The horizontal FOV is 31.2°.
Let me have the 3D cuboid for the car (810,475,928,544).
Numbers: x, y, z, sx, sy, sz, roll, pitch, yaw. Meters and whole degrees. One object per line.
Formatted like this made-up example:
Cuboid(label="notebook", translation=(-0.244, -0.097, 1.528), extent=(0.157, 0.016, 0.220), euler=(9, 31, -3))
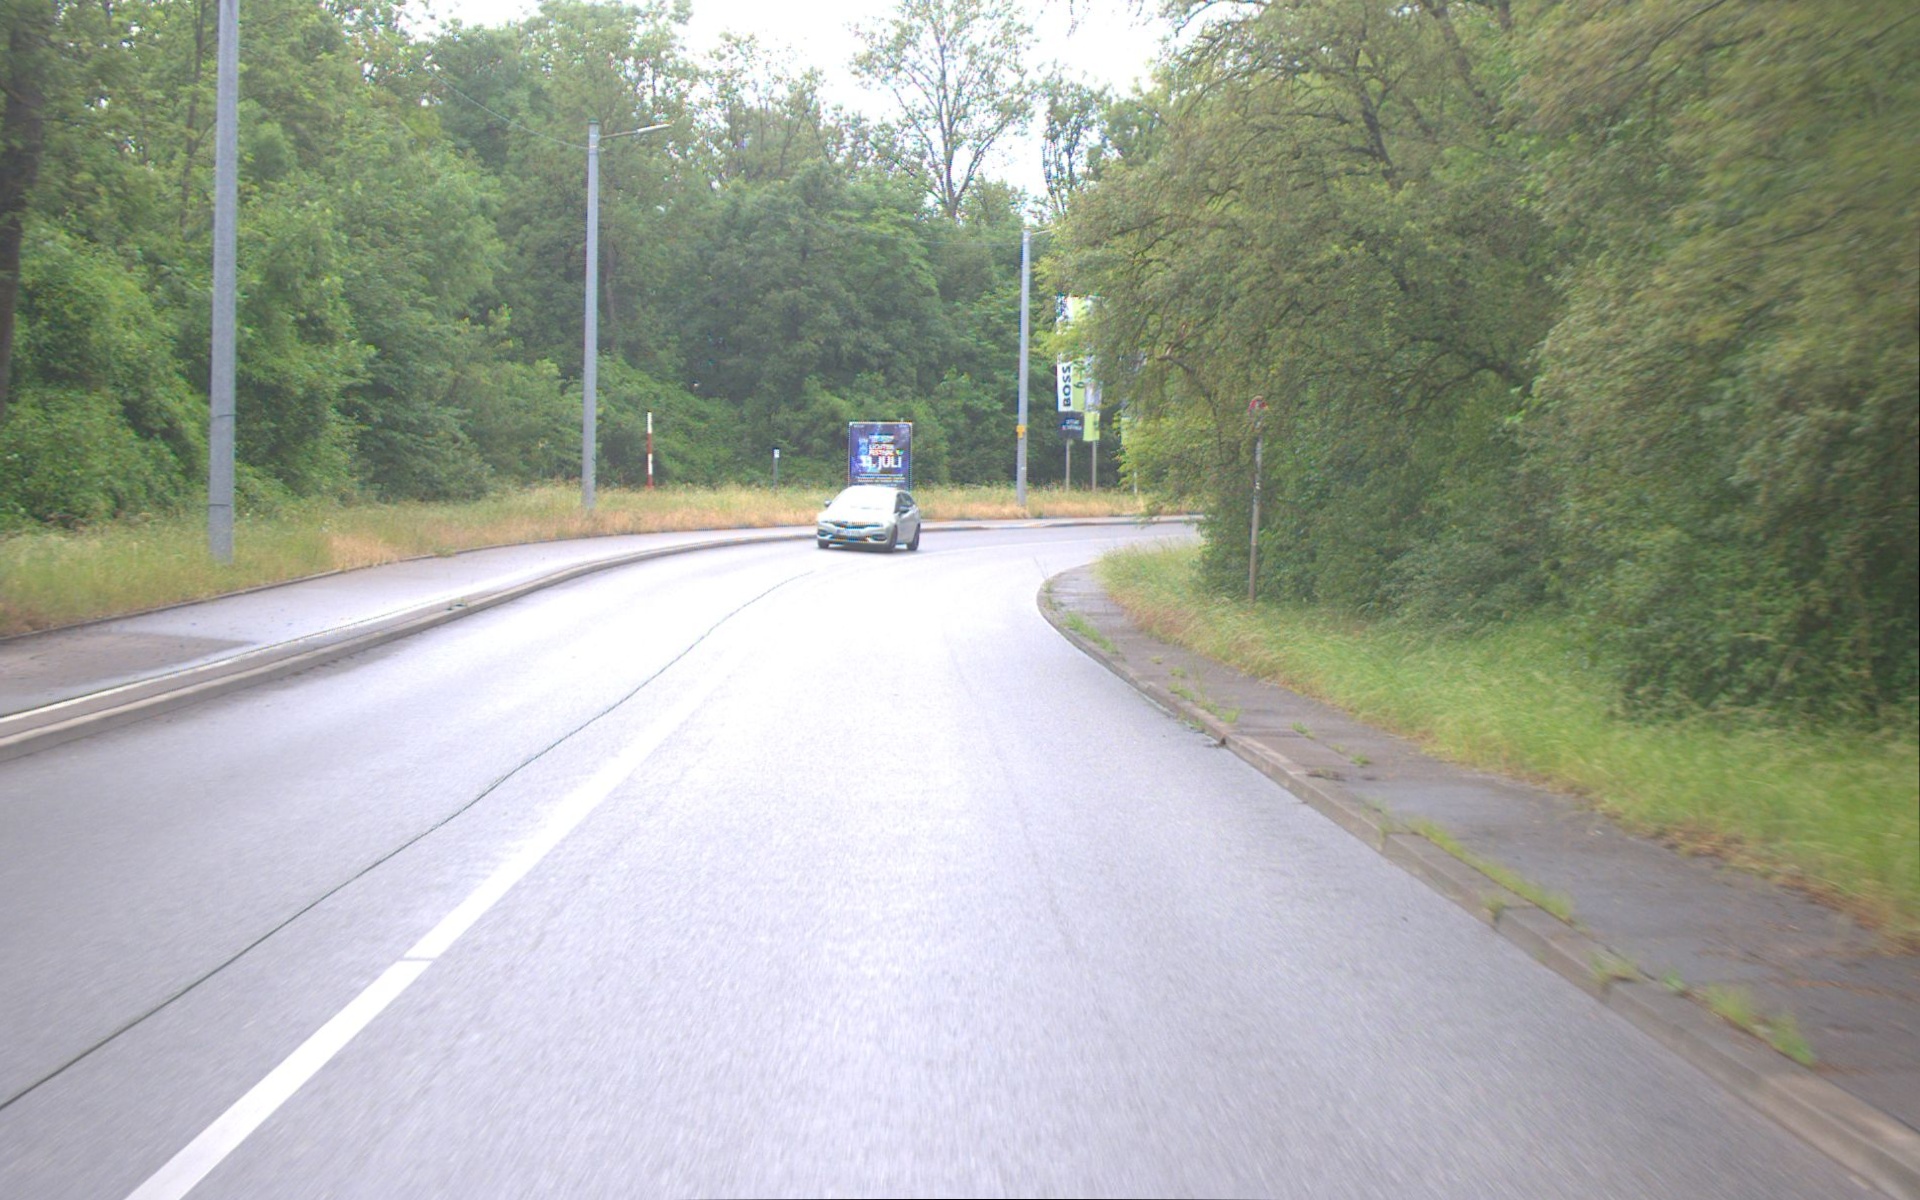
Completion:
Cuboid(label="car", translation=(-2.086, -2.125, 80.137), extent=(1.781, 1.425, 4.473), euler=(5, 3, 10))
